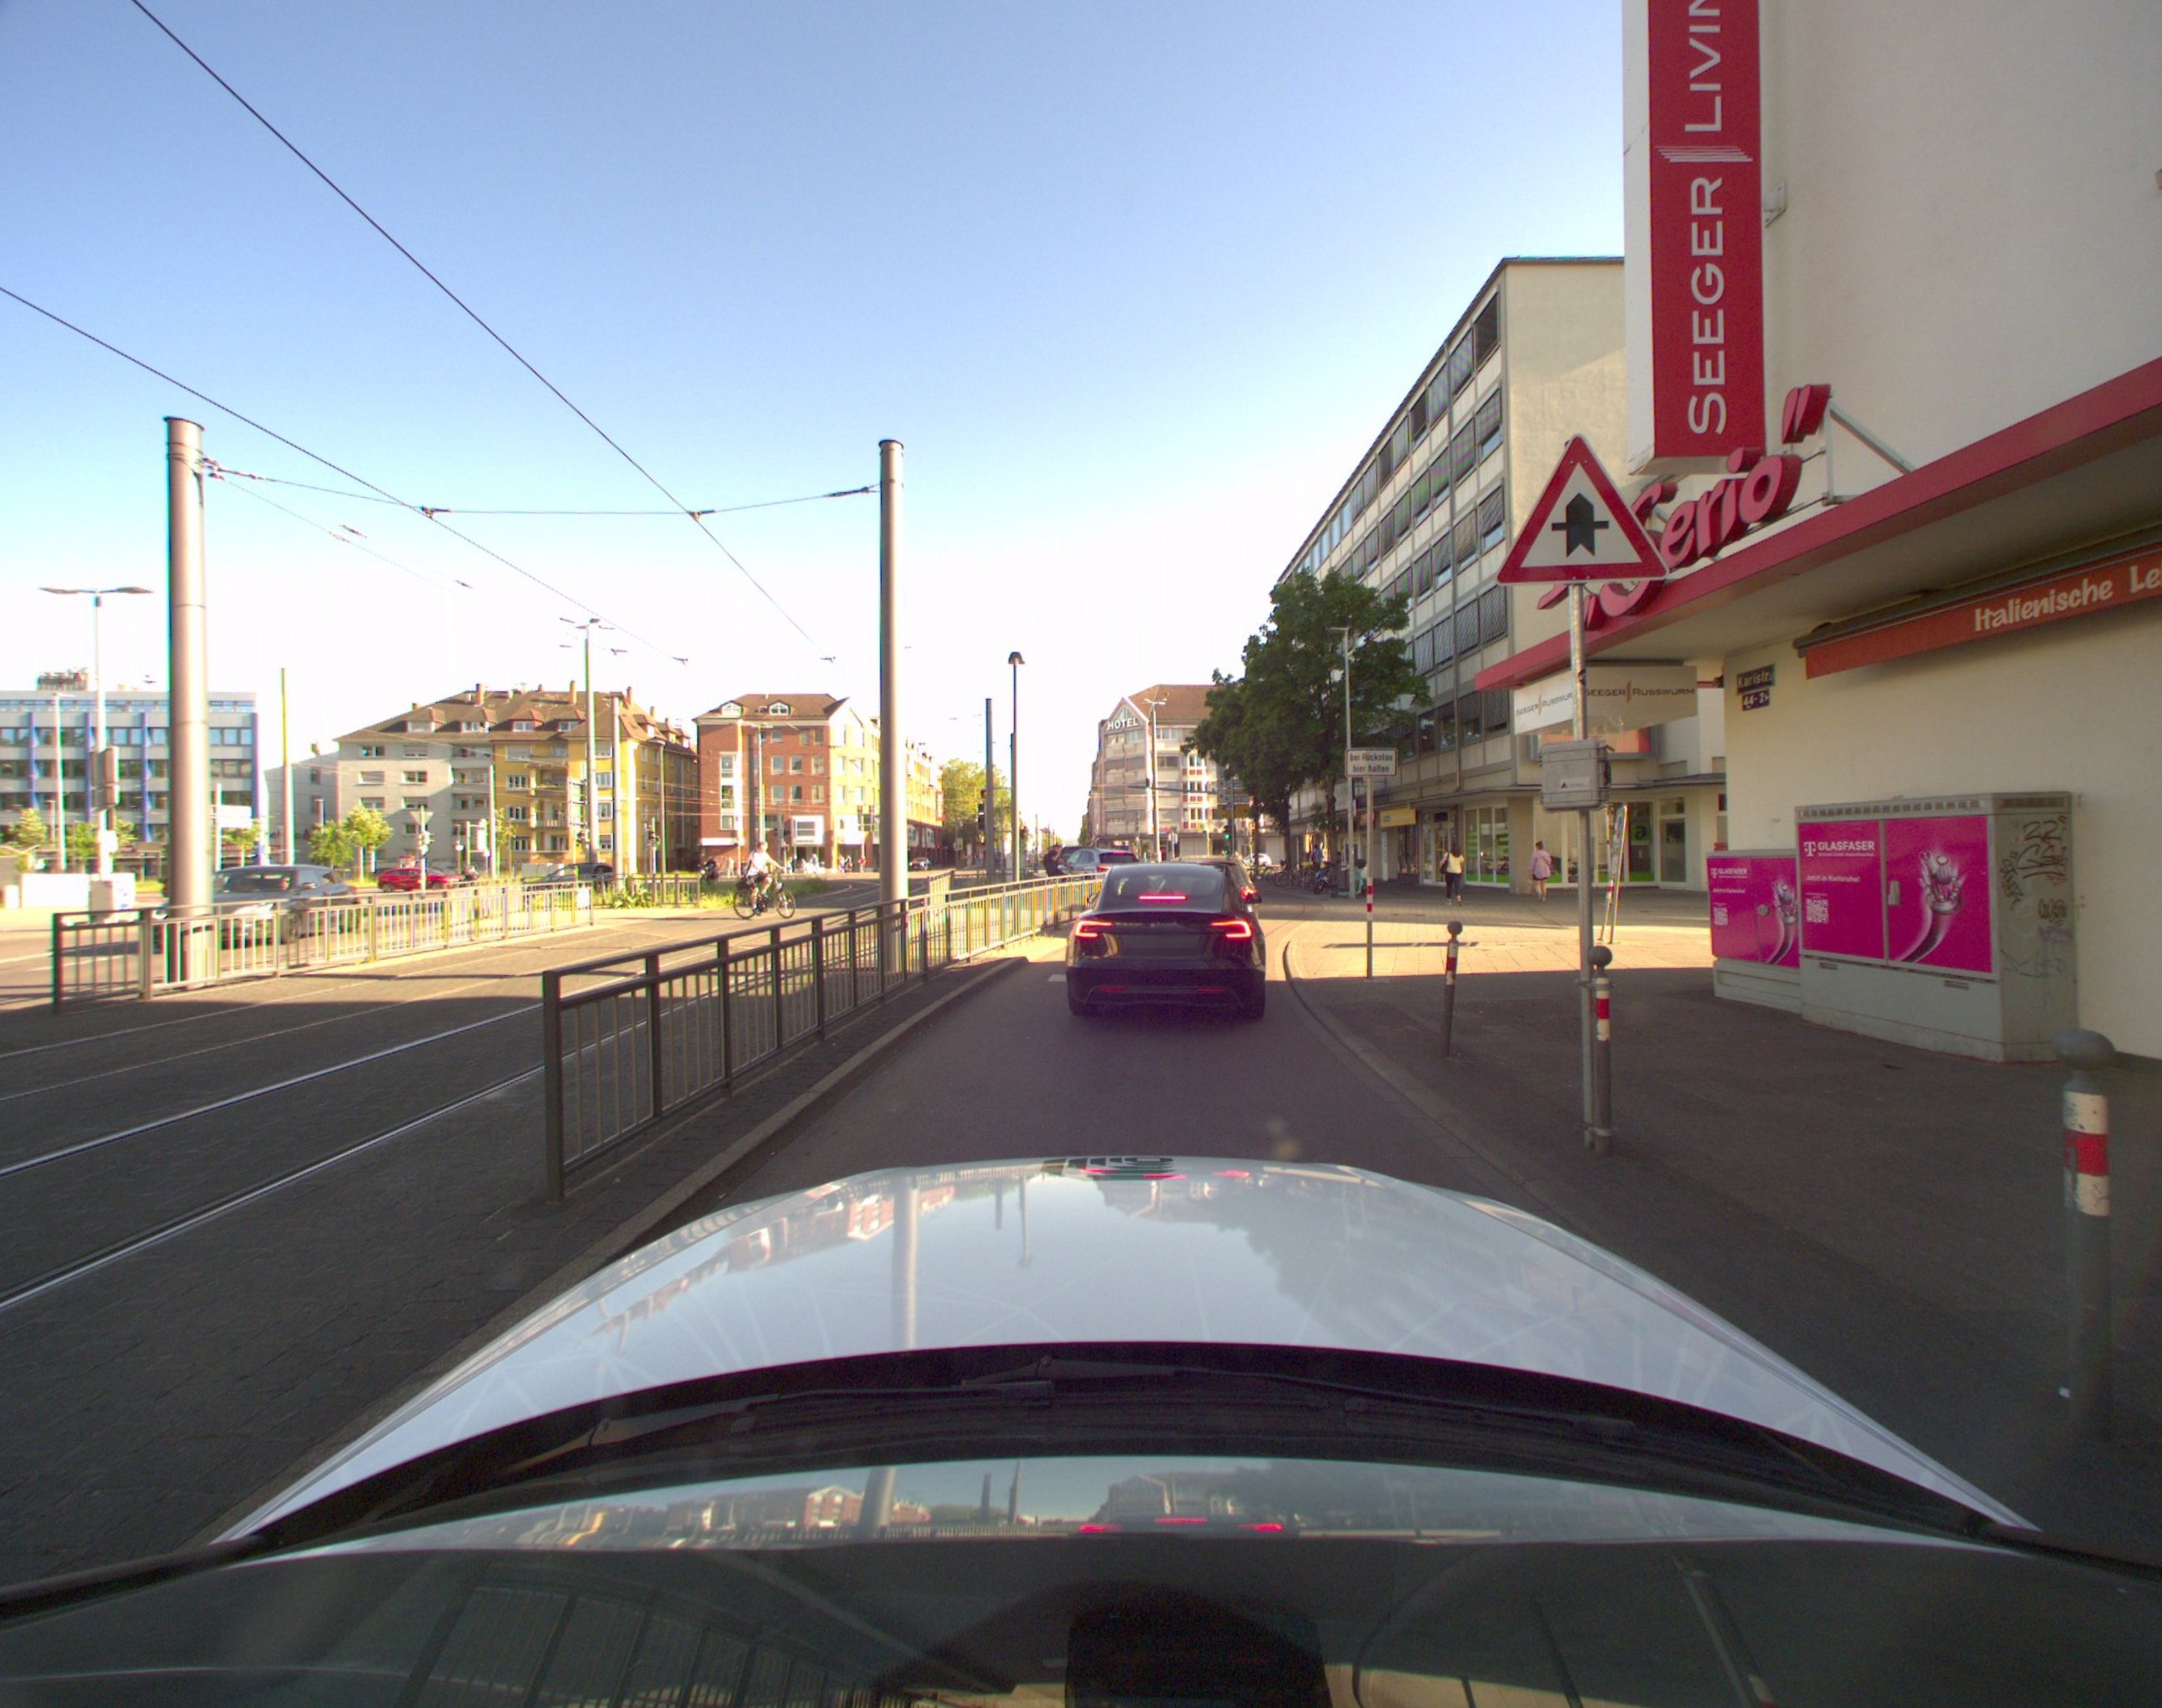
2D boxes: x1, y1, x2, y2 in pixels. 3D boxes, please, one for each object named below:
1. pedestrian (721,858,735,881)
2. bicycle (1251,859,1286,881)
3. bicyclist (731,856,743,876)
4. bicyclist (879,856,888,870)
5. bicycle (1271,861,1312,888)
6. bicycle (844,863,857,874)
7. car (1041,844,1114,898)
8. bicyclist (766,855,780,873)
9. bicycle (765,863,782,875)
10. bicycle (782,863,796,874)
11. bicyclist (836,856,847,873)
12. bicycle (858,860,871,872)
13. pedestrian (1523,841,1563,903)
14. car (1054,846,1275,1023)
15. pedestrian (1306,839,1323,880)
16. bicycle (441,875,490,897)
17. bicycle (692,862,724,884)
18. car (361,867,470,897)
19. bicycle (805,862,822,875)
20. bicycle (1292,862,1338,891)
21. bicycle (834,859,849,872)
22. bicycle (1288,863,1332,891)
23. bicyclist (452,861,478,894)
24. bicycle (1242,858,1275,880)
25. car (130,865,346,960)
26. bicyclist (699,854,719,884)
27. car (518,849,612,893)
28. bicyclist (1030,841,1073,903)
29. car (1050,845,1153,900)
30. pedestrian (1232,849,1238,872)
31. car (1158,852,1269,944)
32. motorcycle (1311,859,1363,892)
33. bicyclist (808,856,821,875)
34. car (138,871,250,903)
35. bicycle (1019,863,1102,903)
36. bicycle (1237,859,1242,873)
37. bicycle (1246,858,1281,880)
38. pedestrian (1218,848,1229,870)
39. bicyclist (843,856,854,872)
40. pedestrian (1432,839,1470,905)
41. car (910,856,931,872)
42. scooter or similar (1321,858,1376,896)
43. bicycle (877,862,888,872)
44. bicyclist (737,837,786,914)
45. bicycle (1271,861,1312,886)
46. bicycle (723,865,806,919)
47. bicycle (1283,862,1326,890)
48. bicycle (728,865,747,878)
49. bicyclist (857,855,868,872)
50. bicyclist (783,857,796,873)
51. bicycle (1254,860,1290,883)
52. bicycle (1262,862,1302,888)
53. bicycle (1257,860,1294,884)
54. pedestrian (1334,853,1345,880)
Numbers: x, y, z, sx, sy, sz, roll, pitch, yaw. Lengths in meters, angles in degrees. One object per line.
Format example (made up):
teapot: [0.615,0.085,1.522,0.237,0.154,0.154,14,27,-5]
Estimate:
pedestrian: [-28.804,1.261,66.454,0.780,1.820,0.747,0,-1,3]
bicycle: [9.278,0.795,40.271,1.643,1.099,0.350,0,-1,3]
bicyclist: [-26.037,0.912,61.683,0.631,1.503,0.696,0,-1,1]
bicyclist: [-21.030,0.956,86.616,0.780,1.563,0.747,0,-1,3]
bicycle: [8.615,0.844,33.340,1.649,1.099,0.349,0,-1,-9]
bicycle: [-22.211,1.375,78.536,0.527,1.088,2.286,0,-1,4]
car: [-0.223,0.662,32.807,1.997,2.014,3.980,-1,0,-15]
bicyclist: [-25.973,0.825,68.689,0.895,1.503,0.696,0,-1,1]
bicycle: [-25.946,1.291,68.709,0.522,0.972,2.247,0,-1,2]
bicycle: [-26.890,1.353,75.043,0.402,0.981,1.699,-1,-1,10]
bicyclist: [-22.202,0.976,75.565,0.780,1.563,0.747,-1,0,3]
bicycle: [-20.602,1.171,77.563,0.527,1.088,2.227,-1,0,4]
pedestrian: [12.750,0.486,22.491,0.881,1.667,0.813,-1,-1,25]
car: [0.922,0.686,8.785,1.820,1.455,4.007,0,-1,7]
pedestrian: [11.667,0.267,40.696,0.659,2.014,0.580,0,-1,4]
bicycle: [-34.787,1.810,46.021,2.188,1.214,0.544,0,-1,-11]
bicycle: [-19.258,0.958,42.097,0.456,1.093,2.205,0,-1,6]
car: [-39.460,1.649,48.389,4.585,1.700,1.993,0,-1,-10]
bicycle: [-22.507,1.228,68.500,0.535,1.088,2.227,0,-1,4]
bicycle: [8.893,0.857,30.959,1.649,1.099,0.349,0,-1,-9]
bicycle: [-22.198,1.060,75.400,0.527,1.088,2.286,-1,0,4]
bicycle: [8.815,0.875,31.382,1.649,1.061,0.349,0,-1,-9]
bicyclist: [-34.804,1.330,46.011,0.901,1.808,0.788,0,-1,-11]
bicycle: [9.242,0.787,42.413,1.643,1.099,0.350,0,-1,3]
car: [-15.686,0.984,15.428,1.649,1.526,3.831,0,-1,-27]
bicyclist: [-19.269,0.759,42.182,0.782,1.527,0.589,0,-1,5]
car: [-19.140,0.603,30.415,1.712,1.527,4.018,0,-1,-13]
bicyclist: [-0.809,0.482,22.251,0.763,1.628,0.967,0,-1,-37]
car: [0.574,0.573,26.674,1.891,1.662,4.126,0,-1,-23]
pedestrian: [11.757,0.500,62.248,0.400,1.710,0.529,-1,-1,9]
car: [2.395,0.705,14.989,1.741,1.454,4.009,-1,0,8]
motorcycle: [9.142,0.766,29.126,1.701,1.173,0.541,0,-1,0]
bicyclist: [-22.501,0.996,68.710,0.780,1.563,0.747,0,-1,3]
car: [-50.626,1.873,46.576,3.952,1.685,1.903,0,-1,-11]
bicycle: [-0.546,0.786,22.565,2.346,1.053,0.624,0,-1,-36]
bicycle: [12.127,0.933,62.366,0.330,1.034,1.260,-1,-1,9]
bicycle: [9.261,0.757,41.318,1.643,1.099,0.350,-1,0,3]
pedestrian: [10.852,0.392,61.931,0.697,1.662,0.777,0,-1,1]
bicyclist: [-22.322,0.967,78.066,0.780,1.563,0.747,-1,0,3]
pedestrian: [10.158,0.481,22.349,0.906,1.752,1.044,-1,0,25]
car: [-18.010,1.109,91.510,1.692,1.731,3.706,0,-1,0]
scooter or similar: [8.897,0.762,27.119,1.625,1.215,0.649,-1,-1,32]
bicycle: [-21.087,1.384,86.473,0.527,1.088,2.227,0,-1,4]
bicyclist: [-7.442,0.495,18.989,0.745,1.759,0.761,-1,-1,13]
bicycle: [9.116,0.842,35.278,1.643,1.099,0.350,0,-1,3]
bicycle: [-7.379,0.875,18.975,1.836,1.222,0.487,-1,-1,14]
bicycle: [8.729,0.857,31.808,1.649,1.099,0.349,0,-1,-9]
bicycle: [-26.032,1.324,61.740,0.445,0.972,2.247,0,-1,2]
bicyclist: [-20.678,0.893,76.945,0.780,1.563,0.747,-1,0,3]
bicyclist: [-26.896,1.036,75.061,0.699,1.471,0.975,-1,0,9]
bicycle: [9.203,0.838,39.258,1.643,1.099,0.350,0,-1,3]
bicycle: [8.445,0.875,34.232,1.649,1.099,0.349,0,-1,-9]
bicycle: [9.138,0.834,38.232,1.643,1.099,0.350,0,-1,3]
pedestrian: [12.855,0.630,40.460,0.388,1.343,0.513,0,-1,4]
